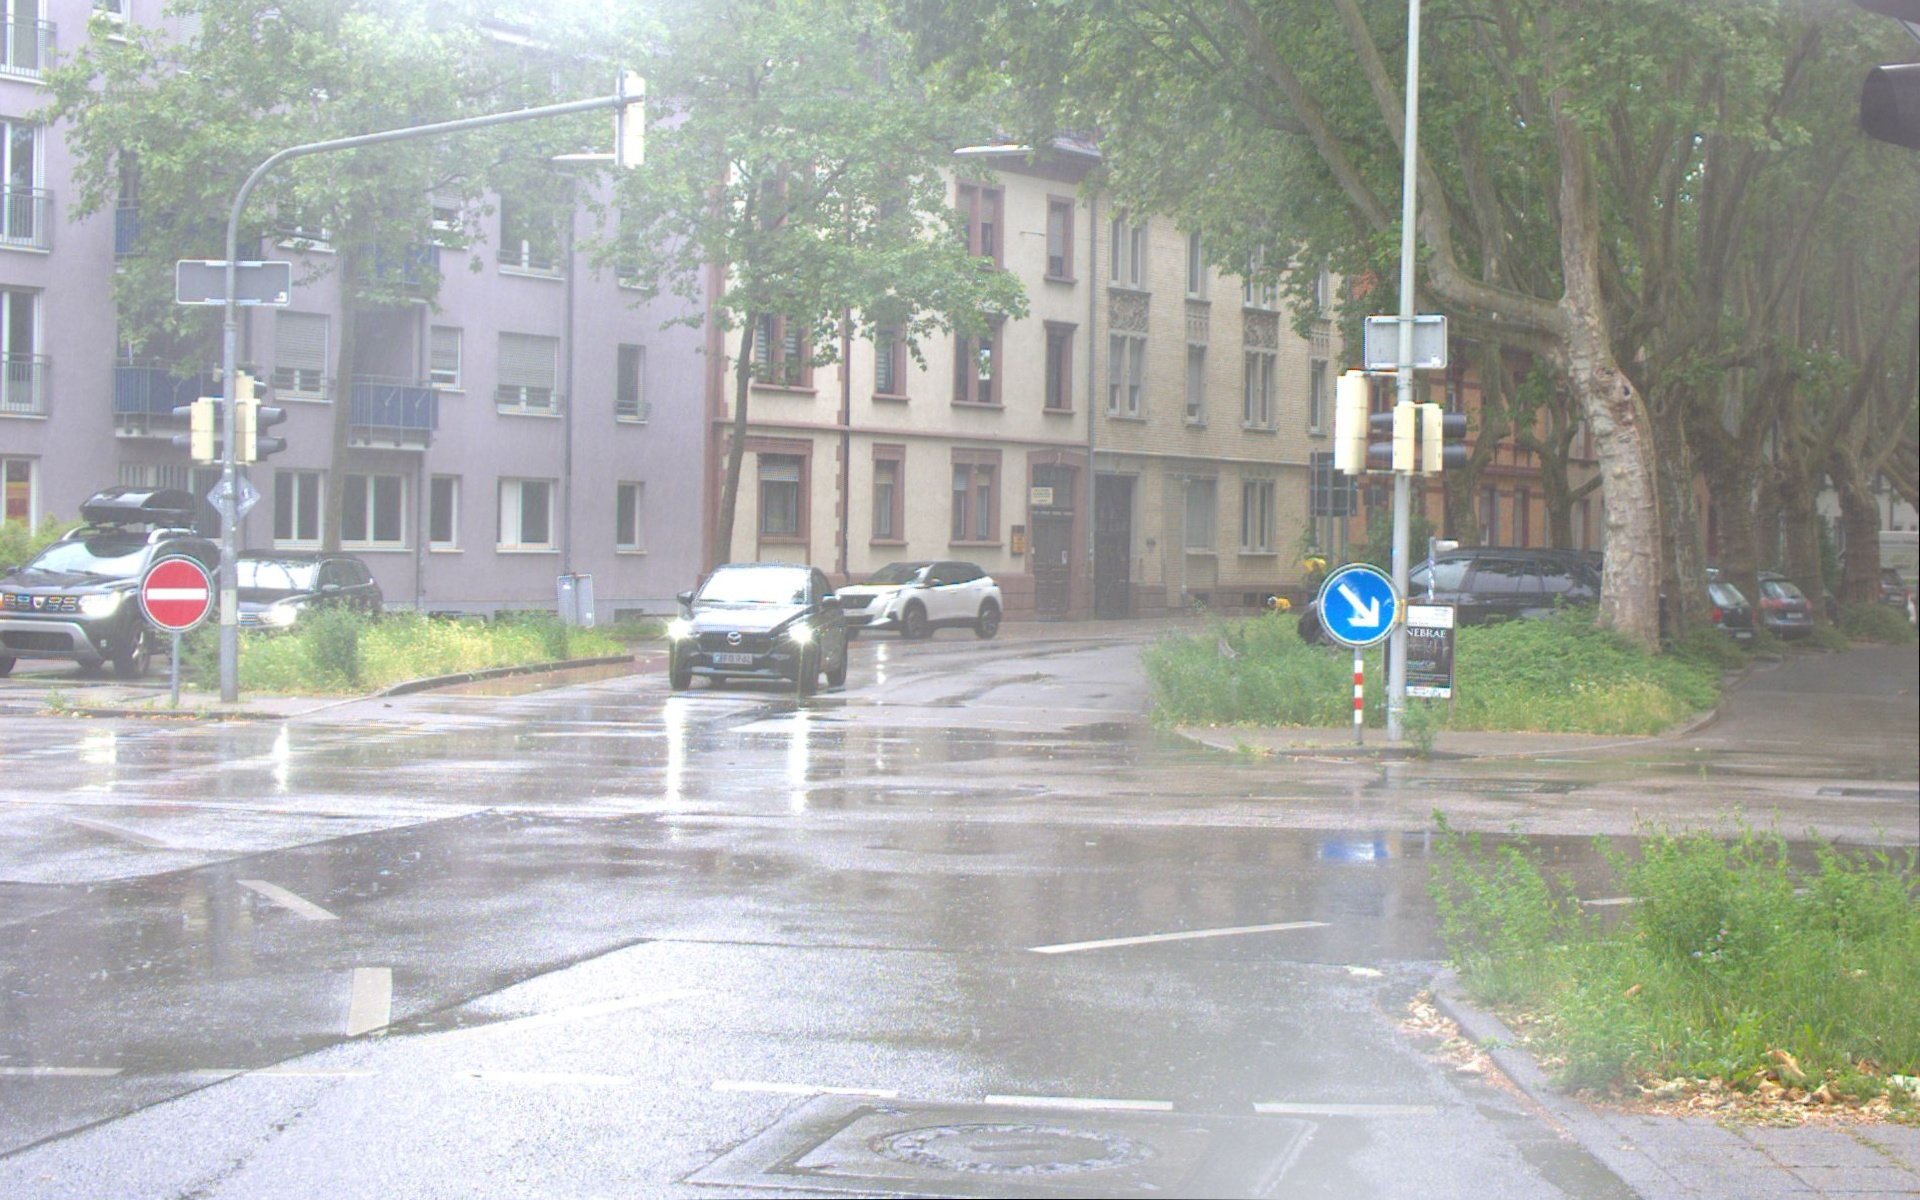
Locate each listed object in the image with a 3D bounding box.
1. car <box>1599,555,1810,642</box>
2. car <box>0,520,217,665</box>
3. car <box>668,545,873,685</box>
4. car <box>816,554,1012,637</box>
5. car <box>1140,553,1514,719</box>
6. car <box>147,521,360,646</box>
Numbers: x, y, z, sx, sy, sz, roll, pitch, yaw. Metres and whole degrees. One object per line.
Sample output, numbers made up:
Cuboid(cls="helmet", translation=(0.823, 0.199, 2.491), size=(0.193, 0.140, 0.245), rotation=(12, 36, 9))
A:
Cuboid(cls="car", translation=(14.196, -0.038, 65.559), size=(3.611, 1.612, 1.679), rotation=(0, 1, 28))
Cuboid(cls="car", translation=(-9.769, -0.117, 38.730), size=(1.725, 1.547, 3.559), rotation=(-1, 1, 5))
Cuboid(cls="car", translation=(-2.192, 0.143, 40.565), size=(1.603, 1.547, 3.558), rotation=(0, 1, 10))
Cuboid(cls="car", translation=(-0.882, -0.115, 68.190), size=(1.680, 1.547, 4.190), rotation=(0, 1, 36))
Cuboid(cls="car", translation=(3.539, 0.334, 32.990), size=(3.480, 1.518, 1.519), rotation=(-1, 1, 9))
Cuboid(cls="car", translation=(-9.167, -0.246, 44.858), size=(1.725, 1.547, 3.559), rotation=(-1, 1, 5))
